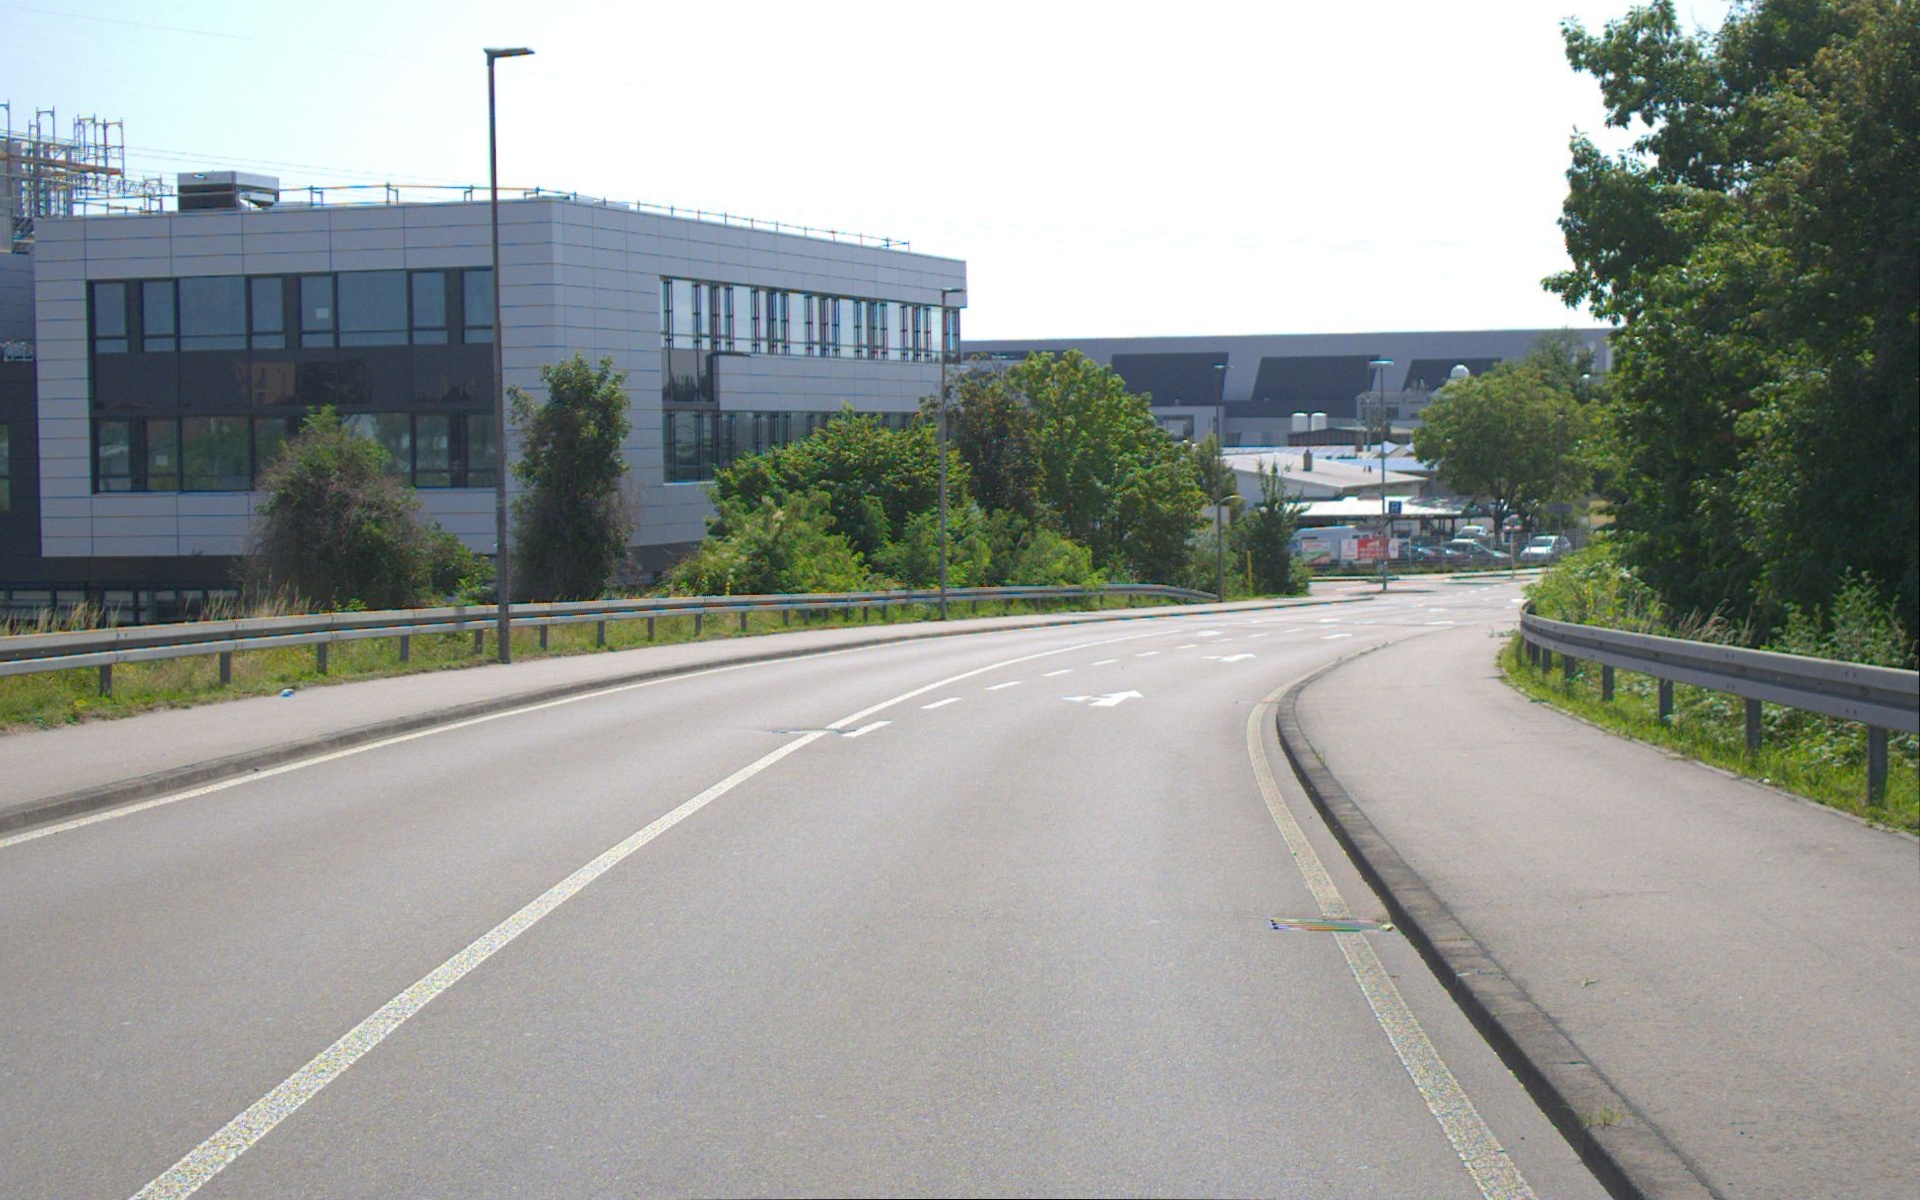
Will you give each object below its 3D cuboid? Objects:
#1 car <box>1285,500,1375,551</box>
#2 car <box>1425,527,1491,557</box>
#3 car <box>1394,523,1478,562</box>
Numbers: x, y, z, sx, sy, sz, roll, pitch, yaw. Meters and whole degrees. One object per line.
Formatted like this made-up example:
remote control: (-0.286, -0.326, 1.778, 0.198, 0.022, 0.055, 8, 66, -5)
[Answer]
car: (19.146, -3.853, 177.827, 1.995, 2.599, 4.363, -1, 2, -44)
car: (30.982, -3.627, 213.891, 3.988, 1.844, 1.834, 0, 2, 7)
car: (25.282, -3.078, 182.610, 3.998, 1.897, 1.995, 3, 5, 45)
